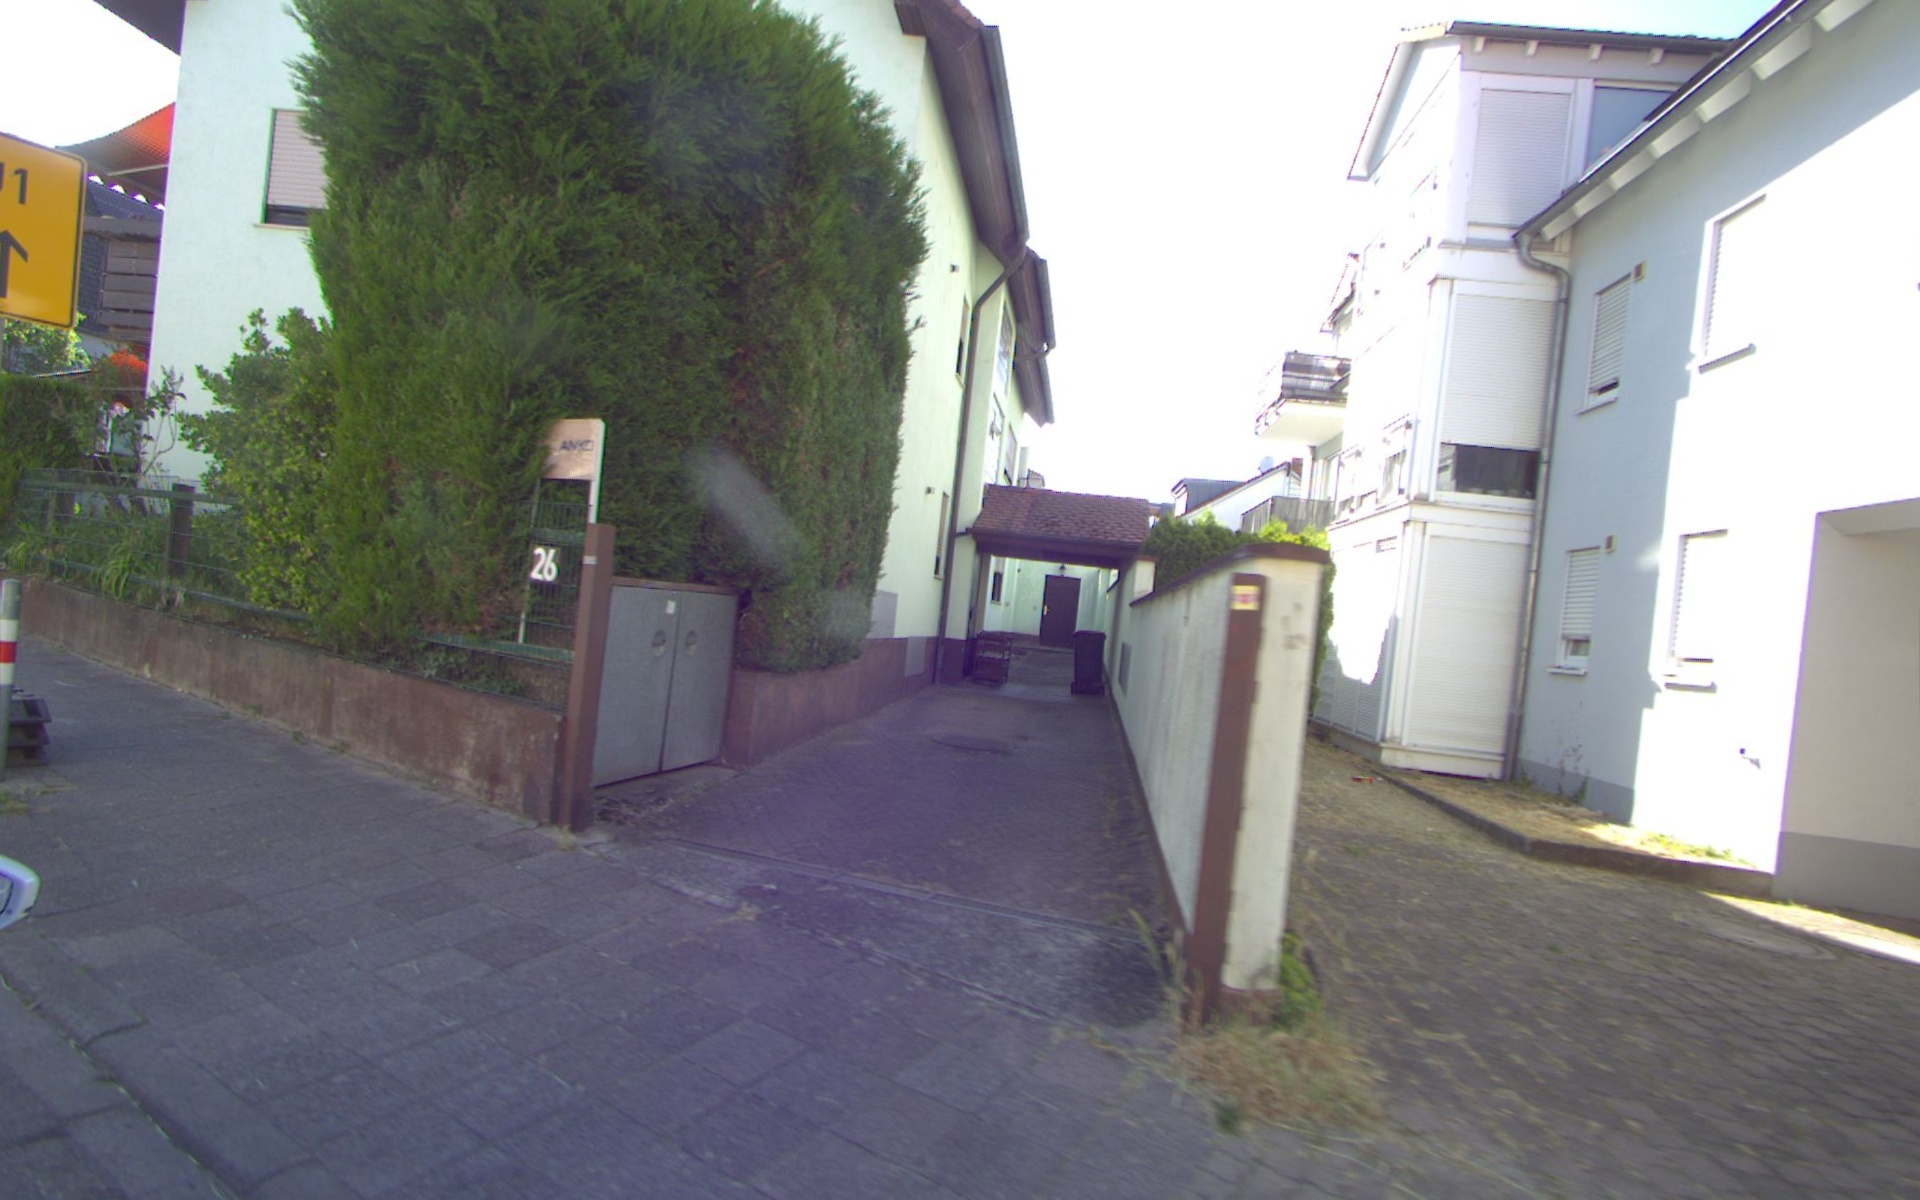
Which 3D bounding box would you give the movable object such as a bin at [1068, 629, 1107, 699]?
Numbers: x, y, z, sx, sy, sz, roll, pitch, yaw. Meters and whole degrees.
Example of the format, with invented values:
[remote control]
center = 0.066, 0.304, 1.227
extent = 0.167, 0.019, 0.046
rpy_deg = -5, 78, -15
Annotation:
[movable object such as a bin]
center = 2.131, 1.067, 16.893
extent = 0.517, 1.101, 0.474
rpy_deg = 7, 0, 6
